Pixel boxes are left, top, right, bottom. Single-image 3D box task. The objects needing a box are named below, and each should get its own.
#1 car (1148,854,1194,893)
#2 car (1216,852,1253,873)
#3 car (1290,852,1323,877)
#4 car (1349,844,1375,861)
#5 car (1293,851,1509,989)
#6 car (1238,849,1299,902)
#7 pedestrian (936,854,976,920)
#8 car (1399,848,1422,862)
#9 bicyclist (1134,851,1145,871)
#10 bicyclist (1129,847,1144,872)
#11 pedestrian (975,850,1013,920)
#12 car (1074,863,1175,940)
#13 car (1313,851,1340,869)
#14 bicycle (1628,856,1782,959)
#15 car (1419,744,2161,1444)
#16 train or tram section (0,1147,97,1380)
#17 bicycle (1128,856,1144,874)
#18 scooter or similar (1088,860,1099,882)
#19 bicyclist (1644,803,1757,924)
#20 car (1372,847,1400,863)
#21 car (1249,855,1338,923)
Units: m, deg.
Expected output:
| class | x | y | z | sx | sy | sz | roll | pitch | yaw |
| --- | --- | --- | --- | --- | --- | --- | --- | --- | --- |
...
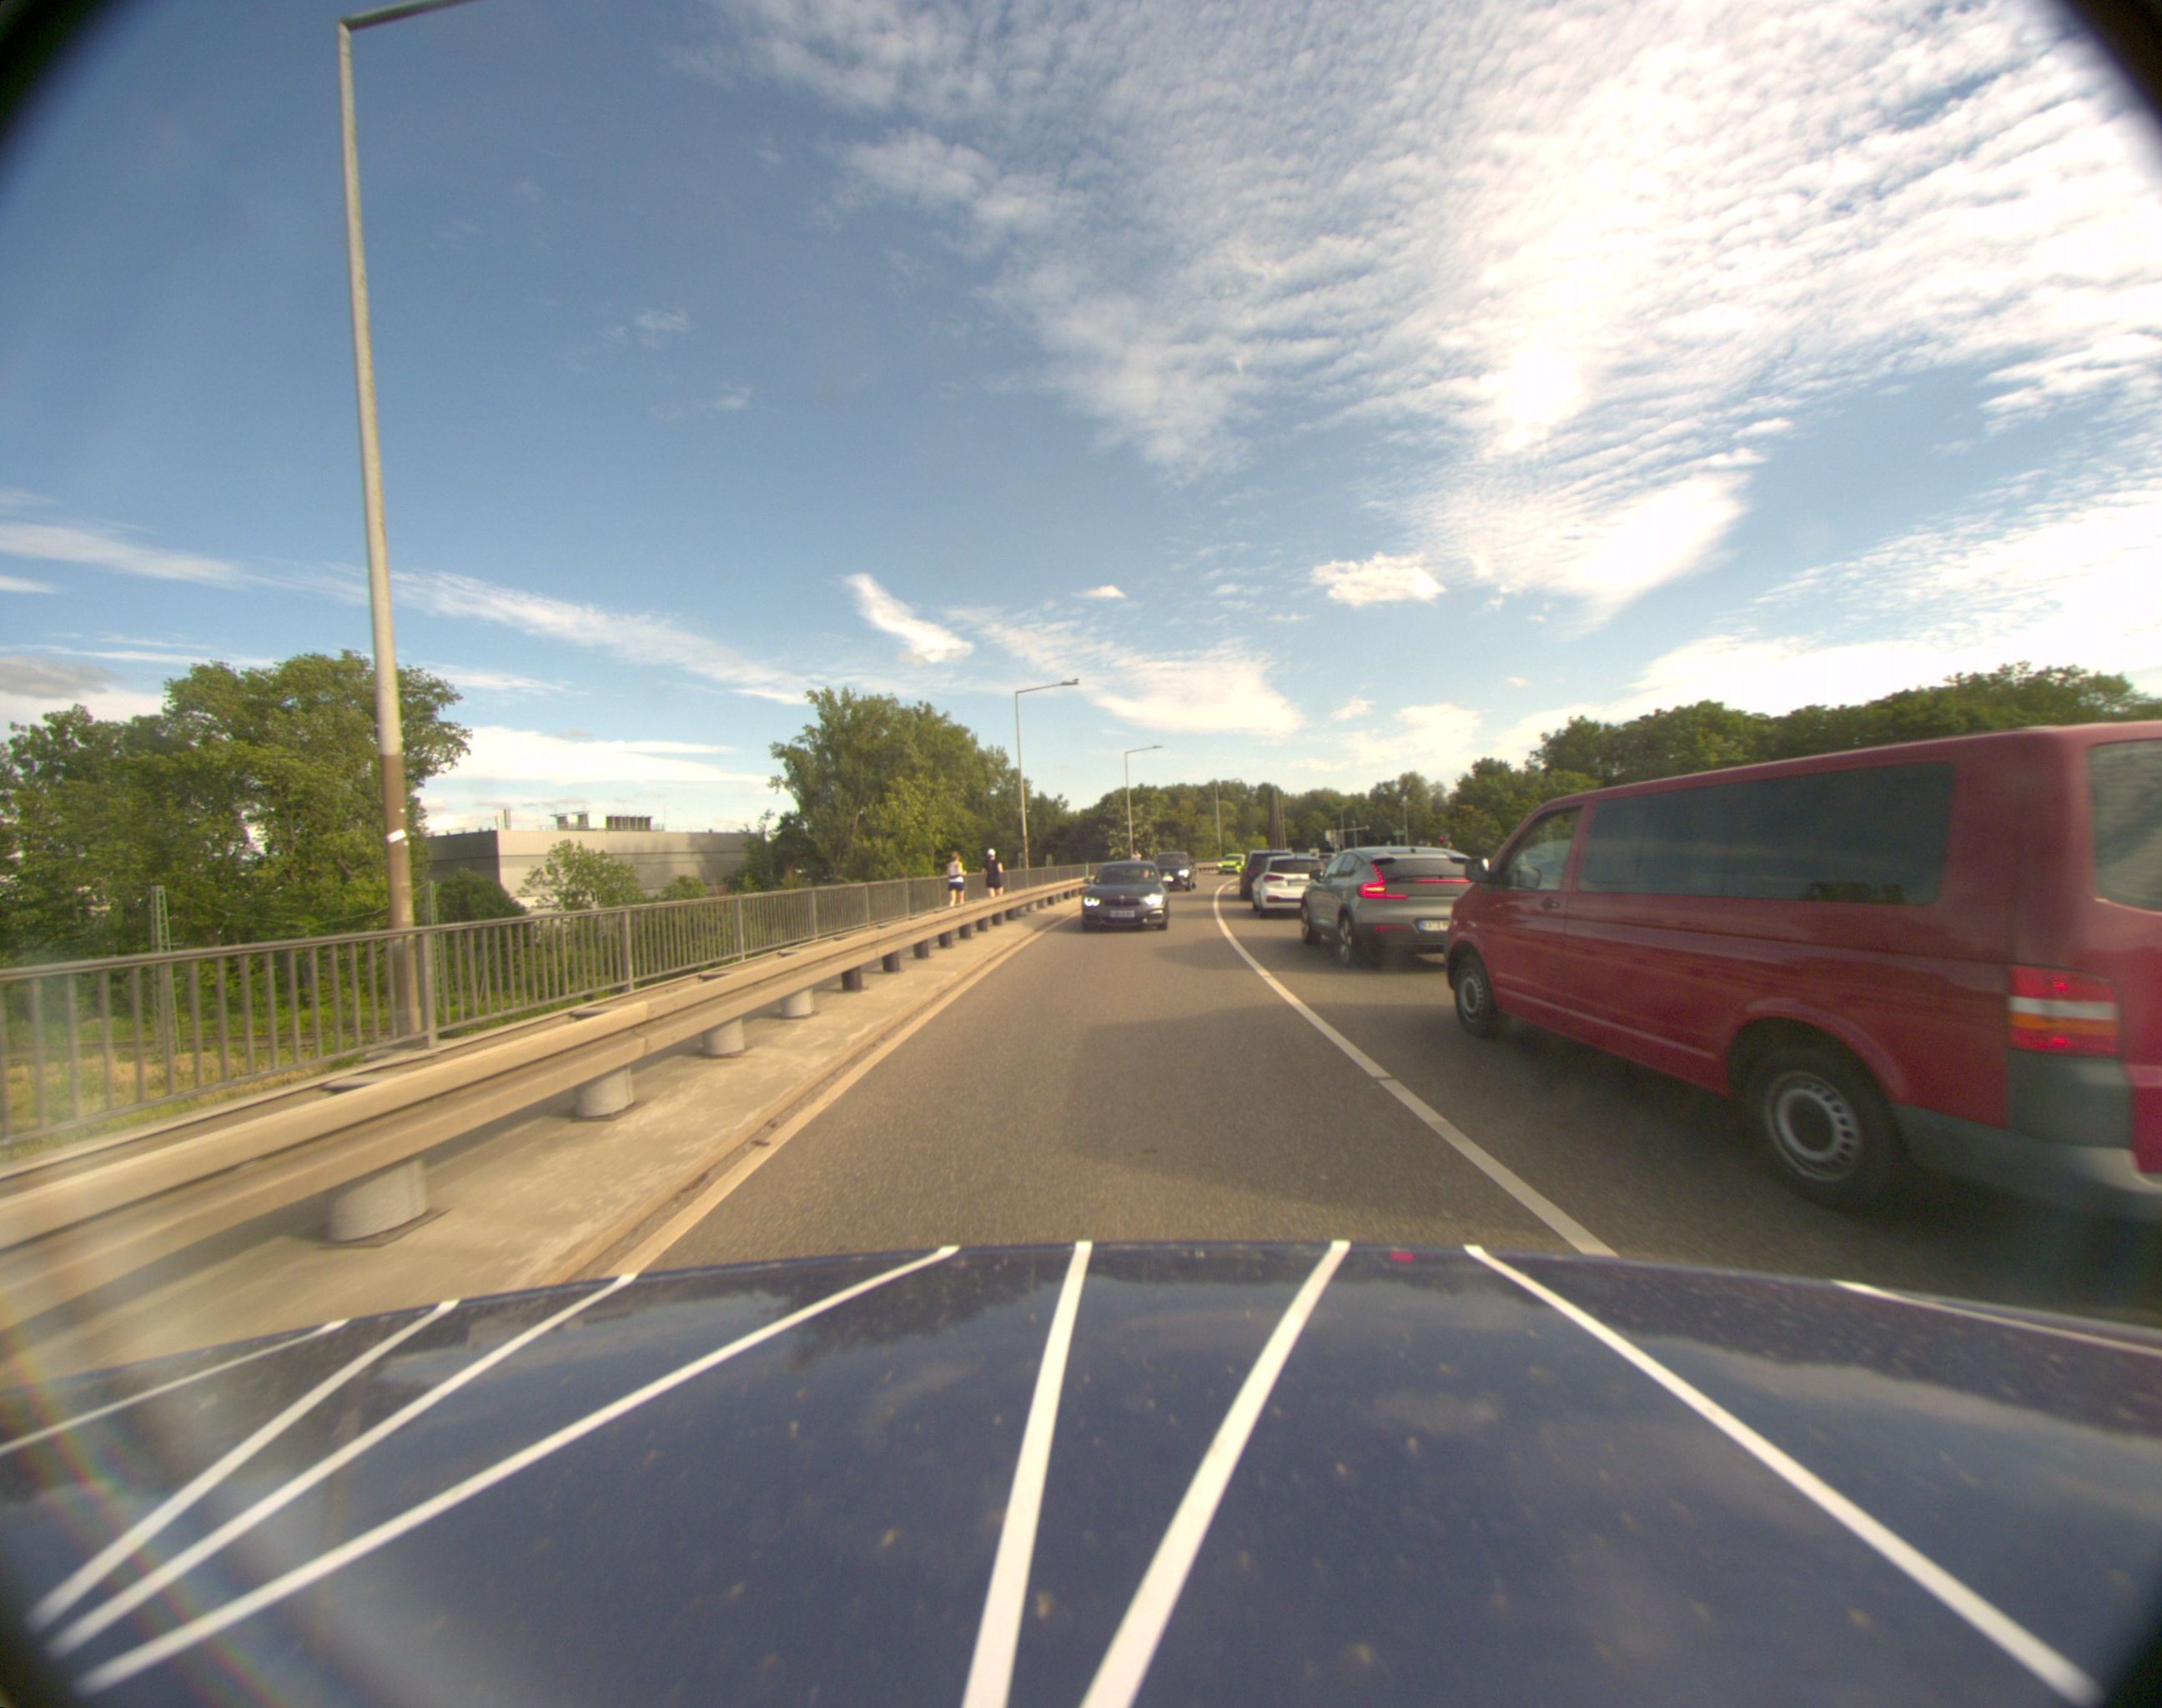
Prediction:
| class | x | y | z | sx | sy | sz | roll | pitch | yaw |
| --- | --- | --- | --- | --- | --- | --- | --- | --- | --- |
| car | 3.849 | 0.786 | 32.683 | 1.818 | 1.498 | 4.393 | -1 | 0 | 6 |
| car | 11.067 | 0.562 | 54.573 | 1.816 | 1.396 | 4.398 | 0 | 0 | 21 |
| car | 14.460 | 0.645 | 48.620 | 1.761 | 1.481 | 4.397 | 0 | 0 | 19 |
| car | 27.915 | -0.143 | 75.406 | 1.871 | 1.656 | 4.638 | 0 | 0 | 27 |
| car | 4.325 | 0.764 | 11.023 | 1.756 | 1.600 | 4.316 | -1 | 0 | 7 |
| car | 6.398 | 0.654 | 26.174 | 1.832 | 1.662 | 4.871 | -1 | 0 | 12 |
| pedestrian | -2.995 | 0.768 | 18.286 | 0.678 | 1.535 | 0.961 | -1 | 1 | 8 |
| car | 40.679 | 0.128 | 93.827 | 1.774 | 1.736 | 3.845 | 0 | 1 | 36 |
| bicyclist | 3.769 | 0.454 | 48.911 | 0.500 | 1.294 | 0.539 | -1 | 1 | 21 |
| bicyclist | 3.537 | 0.360 | 48.453 | 0.708 | 1.548 | 0.755 | -1 | 1 | 21 |
| pedestrian | -2.133 | 0.748 | 18.699 | 0.678 | 1.652 | 0.866 | -1 | 1 | 8 |
| car | 1.073 | 0.948 | 16.710 | 1.785 | 1.396 | 3.973 | -1 | 0 | 9 |
| car | 20.708 | 0.469 | 64.043 | 1.761 | 1.481 | 4.398 | 0 | 0 | 23 |
| bicycle | 8.934 | 0.708 | 10.996 | 0.766 | 1.324 | 1.916 | -1 | 1 | 5 |
| car | 3.995 | 0.627 | 4.423 | 2.012 | 1.892 | 4.868 | -1 | 0 | 2 |
| train or tram section | -33.056 | 9.814 | 17.358 | 16.737 | 4.685 | 3.096 | -1 | 1 | 0 |
| bicycle | 3.530 | 0.712 | 48.433 | 0.596 | 1.114 | 1.699 | -1 | 1 | 19 |
| scooter or similar | 0.684 | 0.903 | 40.958 | 0.265 | 1.155 | 1.190 | -1 | 1 | 16 |
| bicyclist | 8.927 | 0.124 | 11.003 | 0.768 | 1.651 | 1.120 | -1 | 1 | 5 |
| car | 33.555 | 0.115 | 83.503 | 1.774 | 1.736 | 3.845 | 0 | 1 | 38 |
| car | 5.203 | 0.783 | 19.077 | 1.743 | 1.492 | 4.080 | -1 | 0 | 10 |
